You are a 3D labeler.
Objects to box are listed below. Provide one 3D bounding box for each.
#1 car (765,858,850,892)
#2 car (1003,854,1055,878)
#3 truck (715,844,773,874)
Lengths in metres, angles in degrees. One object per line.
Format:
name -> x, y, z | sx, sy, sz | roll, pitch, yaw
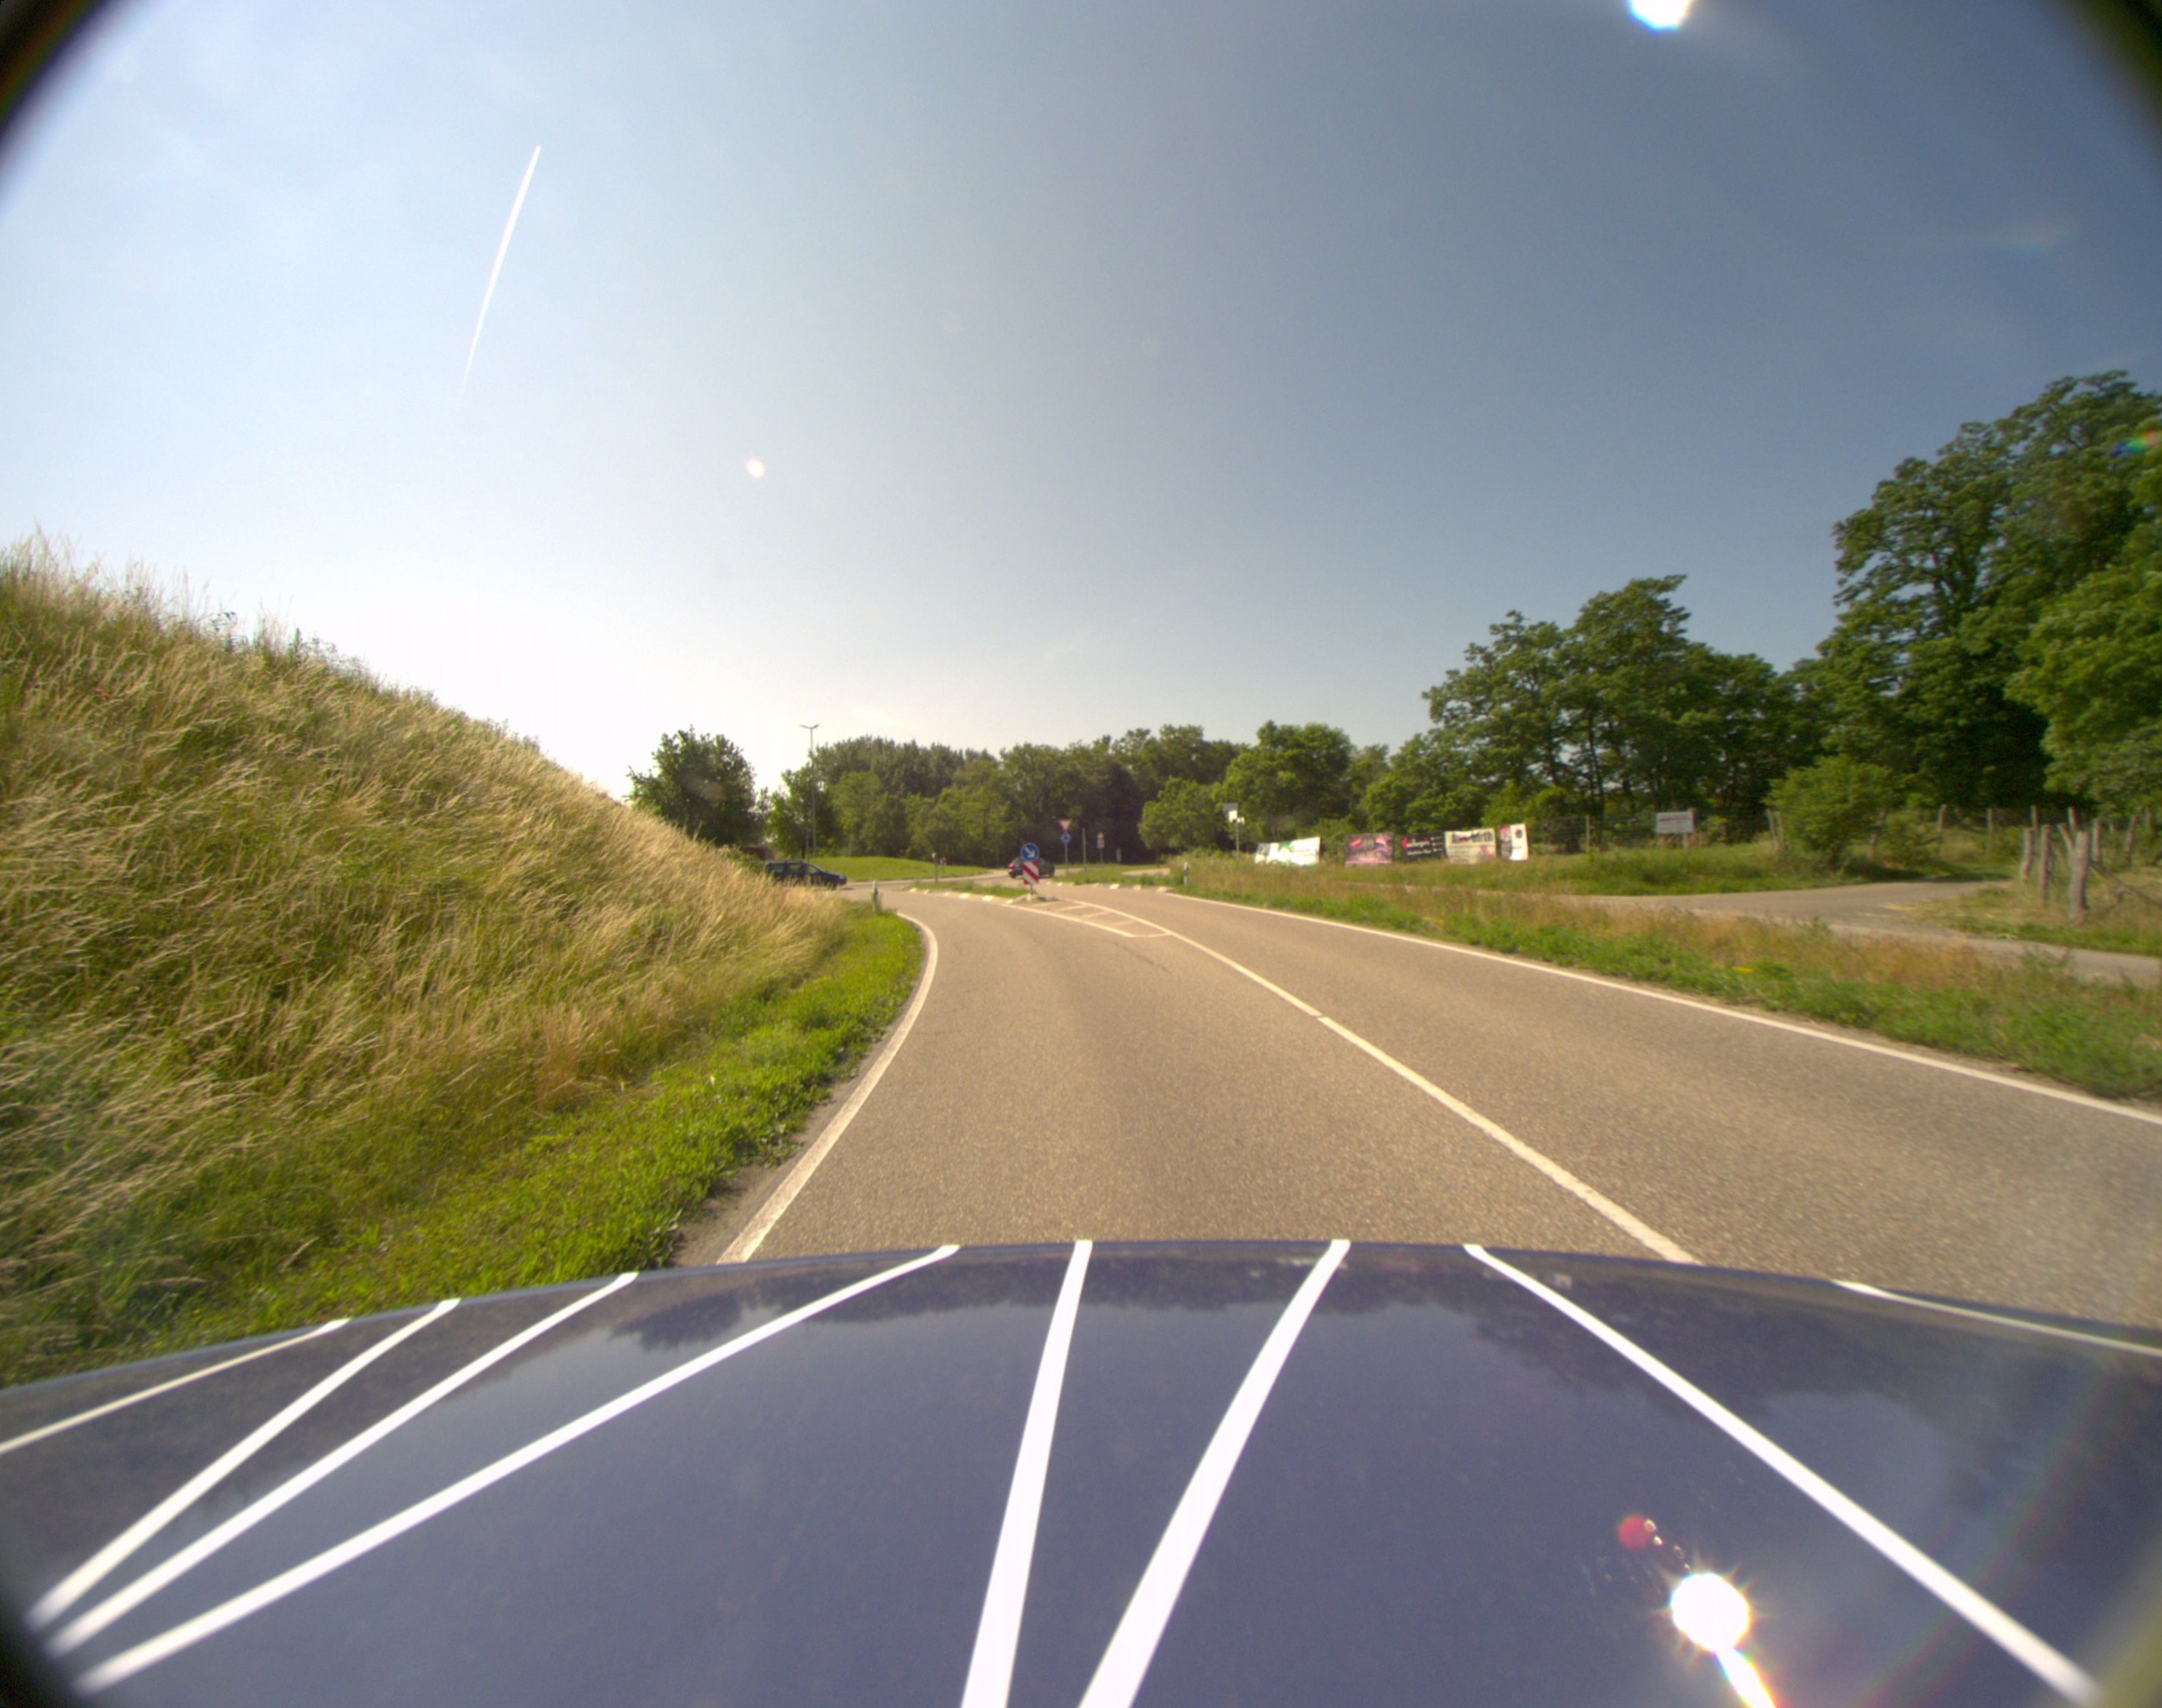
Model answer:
car -> -15.202, 1.129, 42.453 | 4.355, 1.646, 1.705 | -2, 1, -18
car -> -3.599, 0.801, 53.531 | 1.810, 1.481, 4.685 | 0, 2, 21
truck -> -33.967, 0.448, 76.968 | 2.480, 2.815, 9.051 | -2, 1, -5
